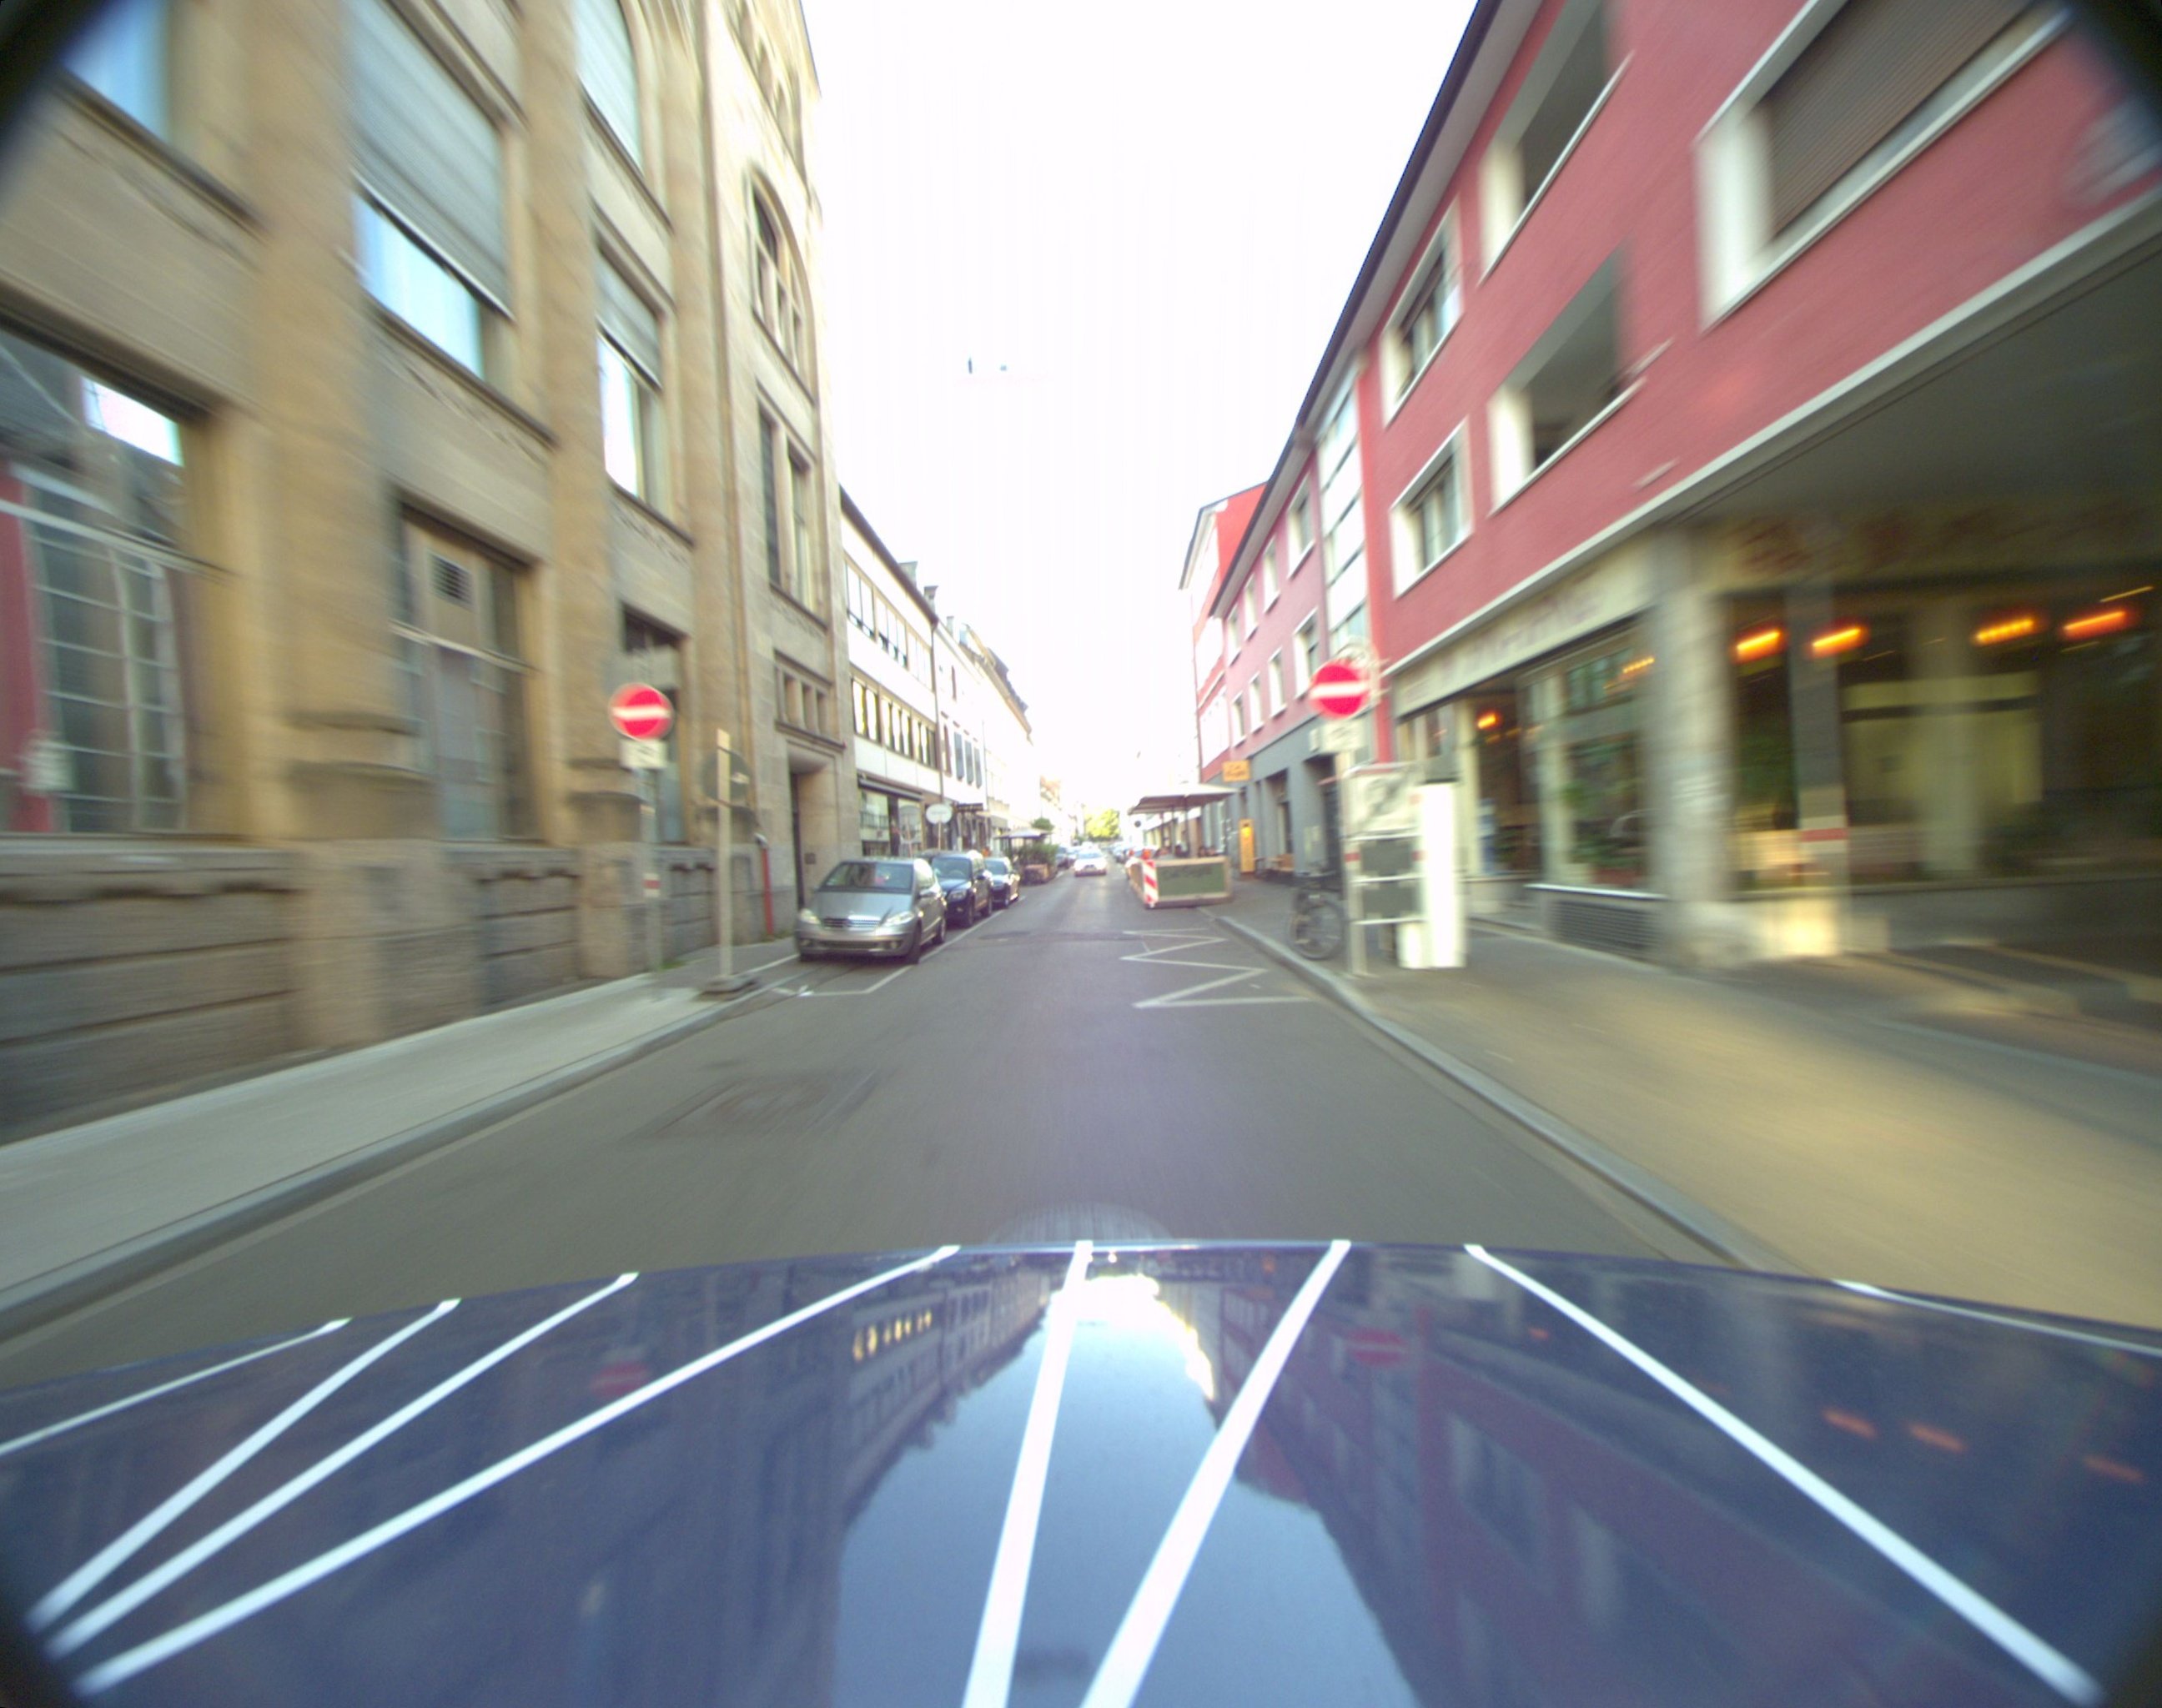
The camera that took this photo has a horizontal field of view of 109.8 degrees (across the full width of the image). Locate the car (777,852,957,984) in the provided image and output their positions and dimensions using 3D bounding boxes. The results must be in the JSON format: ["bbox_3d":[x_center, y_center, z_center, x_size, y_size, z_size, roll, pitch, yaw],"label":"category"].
[{"bbox_3d":[-3.269,0.881,12.487,1.778,1.657,3.999,-3,1,-1],"label":"car"}]

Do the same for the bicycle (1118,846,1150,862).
[{"bbox_3d":[4.326,0.005,61.951,2.480,1.172,0.784,-4,2,8],"label":"bicycle"}]

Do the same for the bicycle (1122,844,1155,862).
[{"bbox_3d":[4.447,-0.097,58.842,2.480,1.172,0.784,-4,2,8],"label":"bicycle"}]

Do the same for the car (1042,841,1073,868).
[{"bbox_3d":[-1.771,-0.004,57.797,1.998,1.835,4.000,-4,1,2],"label":"car"}]

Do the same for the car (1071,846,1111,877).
[{"bbox_3d":[0.592,0.374,41.654,1.998,1.414,4.458,-4,1,2],"label":"car"}]

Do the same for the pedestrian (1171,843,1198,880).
[{"bbox_3d":[3.123,0.229,22.965,0.603,1.057,0.547,-4,2,-6],"label":"pedestrian"}]

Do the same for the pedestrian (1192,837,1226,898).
[{"bbox_3d":[3.187,0.324,18.918,0.612,1.464,0.547,-4,2,-6],"label":"pedestrian"}]

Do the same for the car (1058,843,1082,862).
[{"bbox_3d":[-1.031,-0.197,73.523,1.998,1.667,4.458,-4,1,2],"label":"car"}]

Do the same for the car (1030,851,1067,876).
[{"bbox_3d":[-1.981,0.557,47.592,1.939,1.288,4.000,-4,1,2],"label":"car"}]

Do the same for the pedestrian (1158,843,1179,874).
[{"bbox_3d":[3.087,0.161,26.810,0.559,1.031,0.492,-4,2,-6],"label":"pedestrian"}]

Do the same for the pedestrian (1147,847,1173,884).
[{"bbox_3d":[2.422,0.348,23.232,0.612,1.057,0.547,-4,2,-6],"label":"pedestrian"}]

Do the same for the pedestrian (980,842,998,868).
[{"bbox_3d":[-4.556,0.057,37.559,0.736,1.236,0.646,-3,2,2],"label":"pedestrian"}]

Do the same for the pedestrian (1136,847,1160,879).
[{"bbox_3d":[2.352,0.322,26.645,0.673,1.057,0.547,-4,2,-6],"label":"pedestrian"}]

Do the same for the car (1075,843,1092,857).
[{"bbox_3d":[0.317,-0.535,99.449,1.998,1.667,4.458,-4,1,2],"label":"car"}]

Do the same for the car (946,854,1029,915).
[{"bbox_3d":[-2.768,0.834,23.500,1.694,1.508,4.990,-4,1,2],"label":"car"}]

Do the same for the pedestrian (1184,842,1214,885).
[{"bbox_3d":[3.076,0.248,19.833,0.612,1.057,0.547,-4,2,-6],"label":"pedestrian"}]

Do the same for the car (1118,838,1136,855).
[{"bbox_3d":[5.776,-0.991,96.075,1.998,2.030,4.458,-4,1,2],"label":"car"}]

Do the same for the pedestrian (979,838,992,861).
[{"bbox_3d":[-5.202,-0.236,41.303,0.566,1.236,0.609,-3,2,2],"label":"pedestrian"}]

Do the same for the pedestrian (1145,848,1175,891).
[{"bbox_3d":[2.053,0.386,19.746,0.612,1.057,0.547,-4,2,-6],"label":"pedestrian"}]

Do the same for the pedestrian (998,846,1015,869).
[{"bbox_3d":[-4.154,0.191,42.245,0.736,1.236,0.646,-4,2,3],"label":"pedestrian"}]

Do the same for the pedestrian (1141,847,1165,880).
[{"bbox_3d":[2.448,0.309,25.935,0.634,1.061,0.560,-4,2,-6],"label":"pedestrian"}]

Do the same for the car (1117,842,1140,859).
[{"bbox_3d":[4.561,-0.366,73.997,1.998,1.462,4.458,-4,1,2],"label":"car"}]

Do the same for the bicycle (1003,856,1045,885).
[{"bbox_3d":[-2.604,0.727,34.733,1.873,1.295,0.596,0,1,2],"label":"bicycle"}]

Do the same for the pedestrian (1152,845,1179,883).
[{"bbox_3d":[2.488,0.287,22.478,0.612,1.057,0.547,-4,2,-6],"label":"pedestrian"}]

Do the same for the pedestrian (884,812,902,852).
[{"bbox_3d":[-6.539,-0.770,26.454,0.437,1.342,0.424,-4,2,-1],"label":"pedestrian"}]

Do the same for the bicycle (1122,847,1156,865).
[{"bbox_3d":[4.413,0.131,57.928,2.480,1.172,0.784,-4,2,8],"label":"bicycle"}]

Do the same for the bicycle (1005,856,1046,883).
[{"bbox_3d":[-2.579,0.727,35.416,1.873,1.221,0.596,0,1,2],"label":"bicycle"}]

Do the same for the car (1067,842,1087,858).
[{"bbox_3d":[-0.456,-0.509,88.487,1.998,1.667,4.458,-4,1,2],"label":"car"}]

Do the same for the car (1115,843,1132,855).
[{"bbox_3d":[5.624,-0.714,101.311,1.998,1.462,4.458,-4,1,2],"label":"car"}]

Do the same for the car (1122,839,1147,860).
[{"bbox_3d":[4.762,-0.400,68.373,1.998,1.667,4.458,-4,1,2],"label":"car"}]

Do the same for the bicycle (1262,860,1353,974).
[{"bbox_3d":[2.714,0.707,9.305,0.545,1.185,1.842,-4,1,2],"label":"bicycle"}]

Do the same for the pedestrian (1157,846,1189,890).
[{"bbox_3d":[2.300,0.342,19.028,0.612,1.057,0.547,-4,2,-6],"label":"pedestrian"}]

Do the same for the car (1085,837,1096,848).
[{"bbox_3d":[1.874,-2.294,149.748,1.998,1.884,4.458,-4,1,2],"label":"car"}]

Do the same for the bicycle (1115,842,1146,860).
[{"bbox_3d":[4.224,-0.287,64.815,2.480,1.323,0.784,-4,2,8],"label":"bicycle"}]

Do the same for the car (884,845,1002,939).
[{"bbox_3d":[-3.112,0.773,17.990,1.674,1.796,4.239,-4,1,3],"label":"car"}]

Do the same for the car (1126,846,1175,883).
[{"bbox_3d":[3.001,0.415,33.645,1.722,1.452,4.134,-4,1,0],"label":"car"}]
